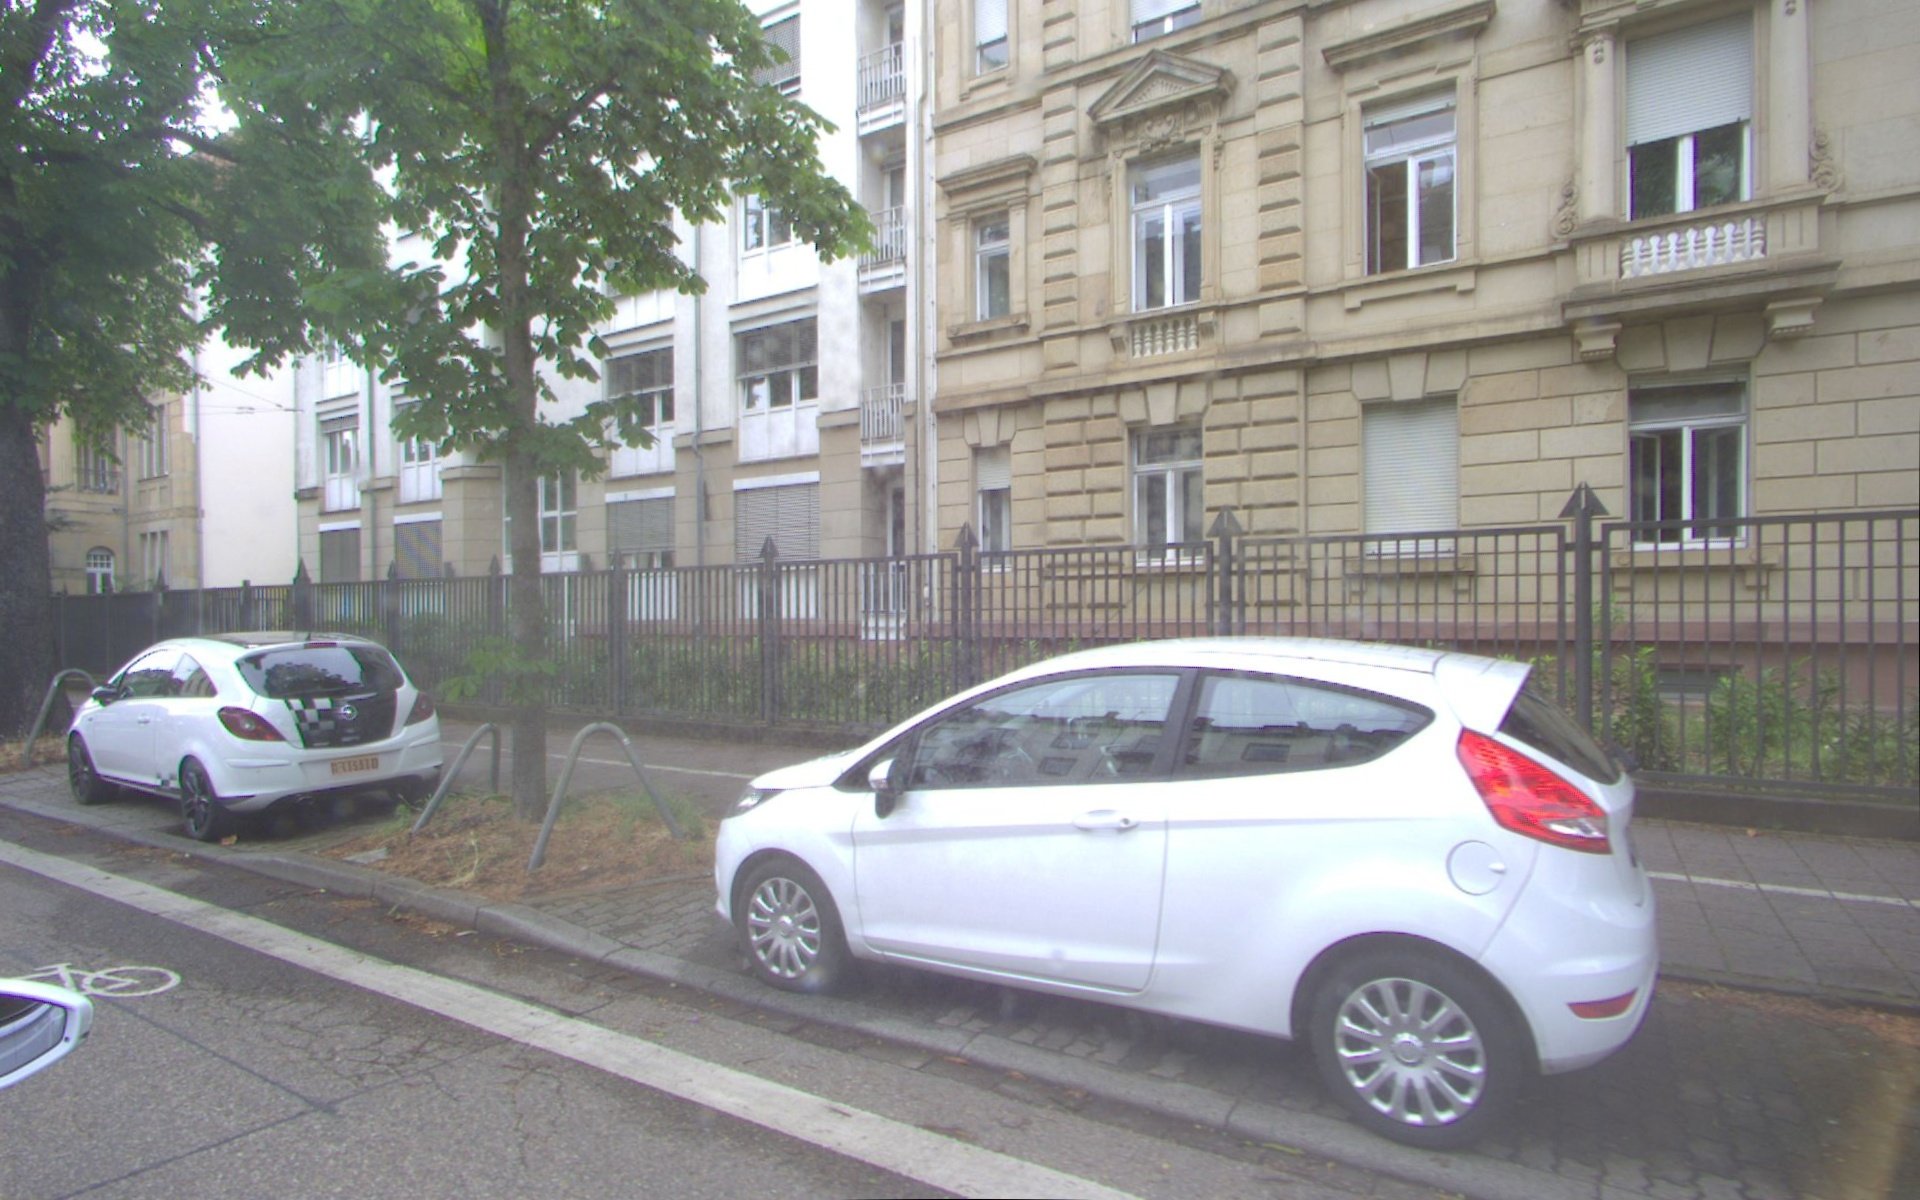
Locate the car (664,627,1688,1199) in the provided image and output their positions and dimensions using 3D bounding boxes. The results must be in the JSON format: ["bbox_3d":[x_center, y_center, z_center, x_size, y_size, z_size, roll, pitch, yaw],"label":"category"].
[{"bbox_3d":[0.680,0.881,4.192,3.711,1.455,1.623,-1,1,32],"label":"car"}]

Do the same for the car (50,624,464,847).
[{"bbox_3d":[-6.062,0.966,8.542,3.723,1.455,1.598,-1,1,33],"label":"car"}]
